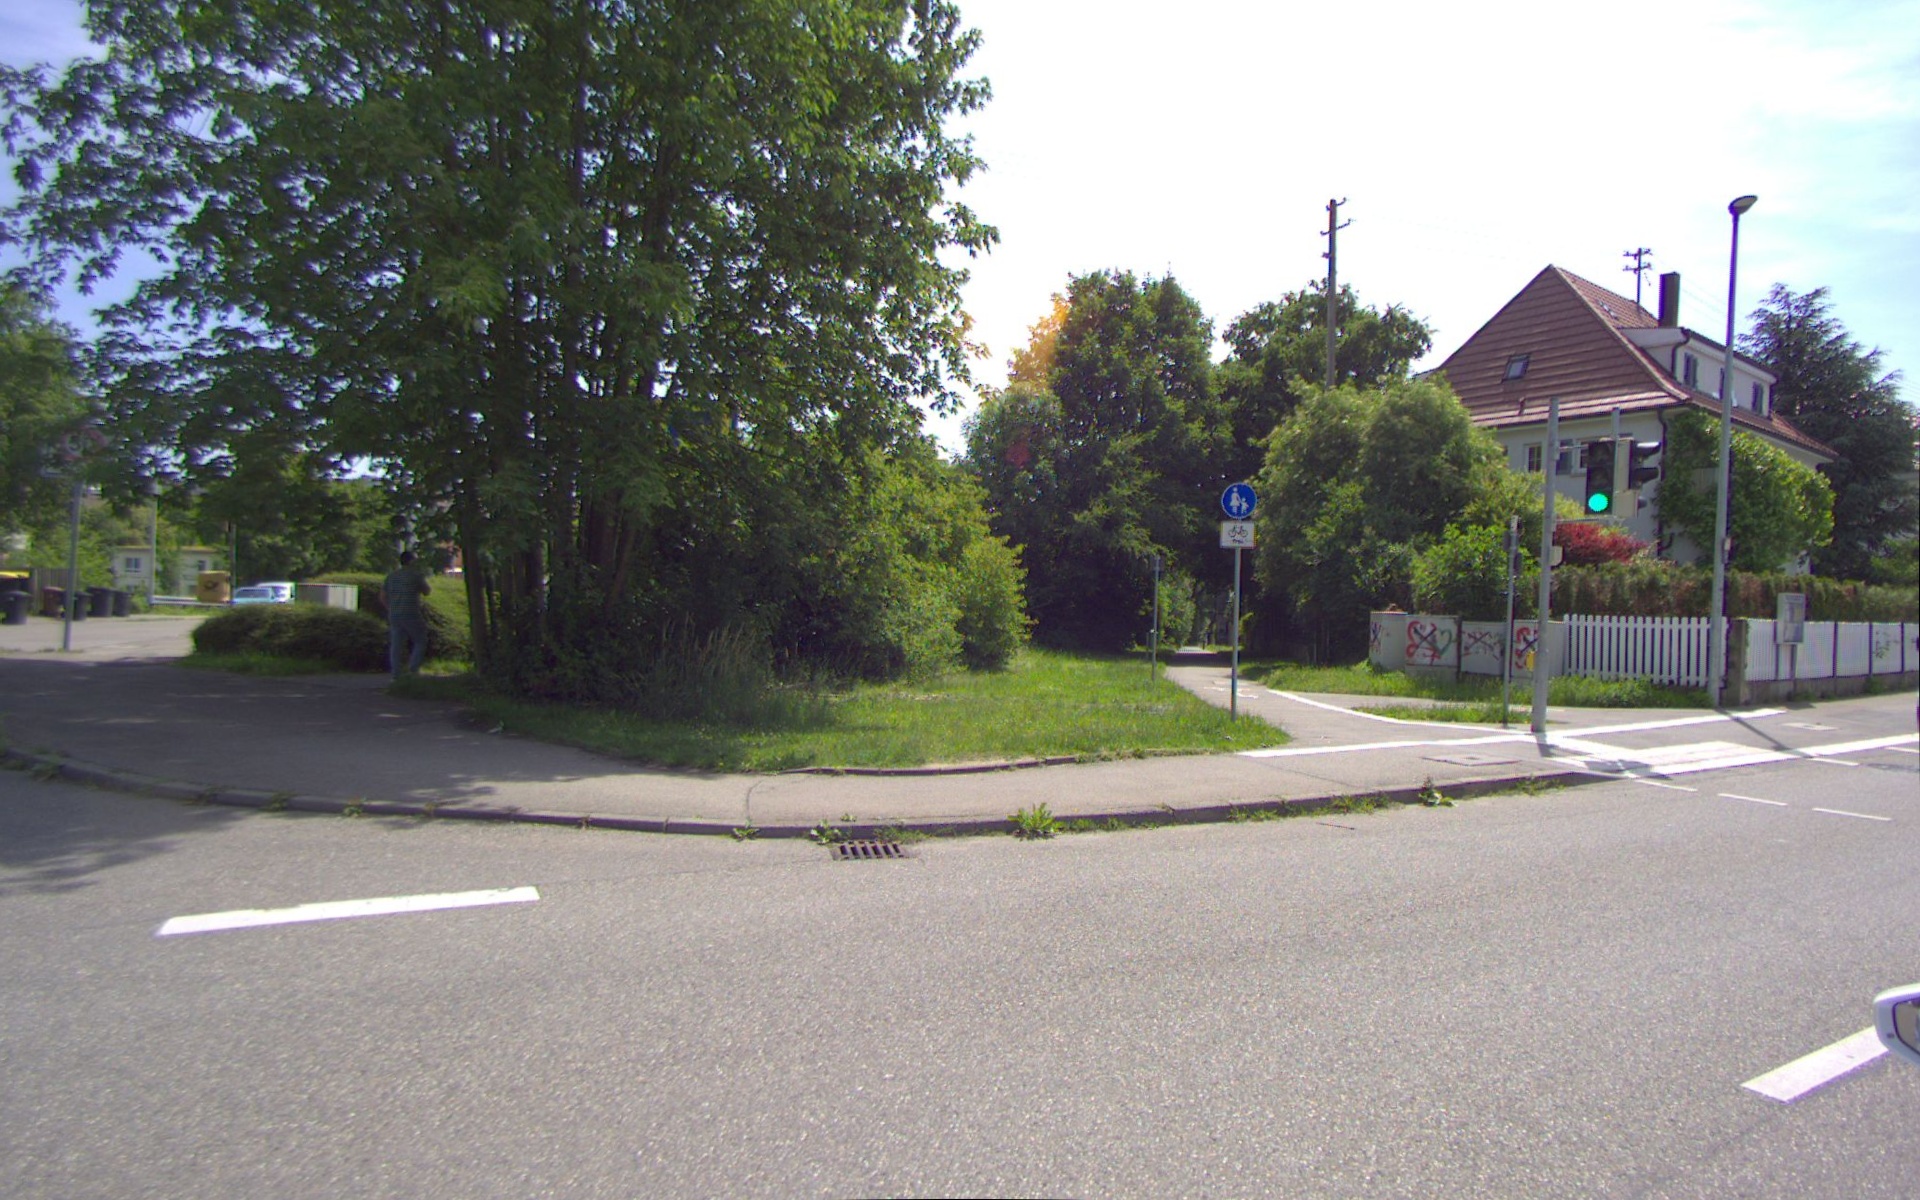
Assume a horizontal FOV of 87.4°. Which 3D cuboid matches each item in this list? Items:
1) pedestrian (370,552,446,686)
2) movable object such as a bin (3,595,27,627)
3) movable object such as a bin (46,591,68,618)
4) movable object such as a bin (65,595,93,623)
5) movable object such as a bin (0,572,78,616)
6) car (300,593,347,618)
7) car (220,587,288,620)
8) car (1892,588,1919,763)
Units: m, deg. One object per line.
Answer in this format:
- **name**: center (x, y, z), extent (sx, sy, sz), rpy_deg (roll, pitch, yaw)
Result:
- **pedestrian**: center (-7.705, 0.273, 14.052), extent (0.678, 1.801, 0.736), rpy_deg (2, -1, -11)
- **movable object such as a bin**: center (-27.454, 0.319, 29.188), extent (0.390, 0.886, 0.390), rpy_deg (1, 1, -22)
- **movable object such as a bin**: center (-29.691, 0.147, 33.032), extent (0.364, 0.868, 0.373), rpy_deg (2, 1, 10)
- **movable object such as a bin**: center (-28.602, 0.281, 32.606), extent (0.510, 0.886, 0.516), rpy_deg (2, 1, 23)
- **movable object such as a bin**: center (-30.846, -0.172, 33.130), extent (1.485, 1.406, 2.208), rpy_deg (0, 0, 4)
- **car**: center (-36.455, 0.332, 57.593), extent (1.732, 1.352, 3.845), rpy_deg (0, -1, -25)
- **car**: center (-30.970, 0.180, 44.152), extent (1.732, 1.352, 3.845), rpy_deg (0, -1, -25)
- **car**: center (13.389, 0.920, 12.168), extent (4.848, 1.991, 1.869), rpy_deg (2, -1, -32)
